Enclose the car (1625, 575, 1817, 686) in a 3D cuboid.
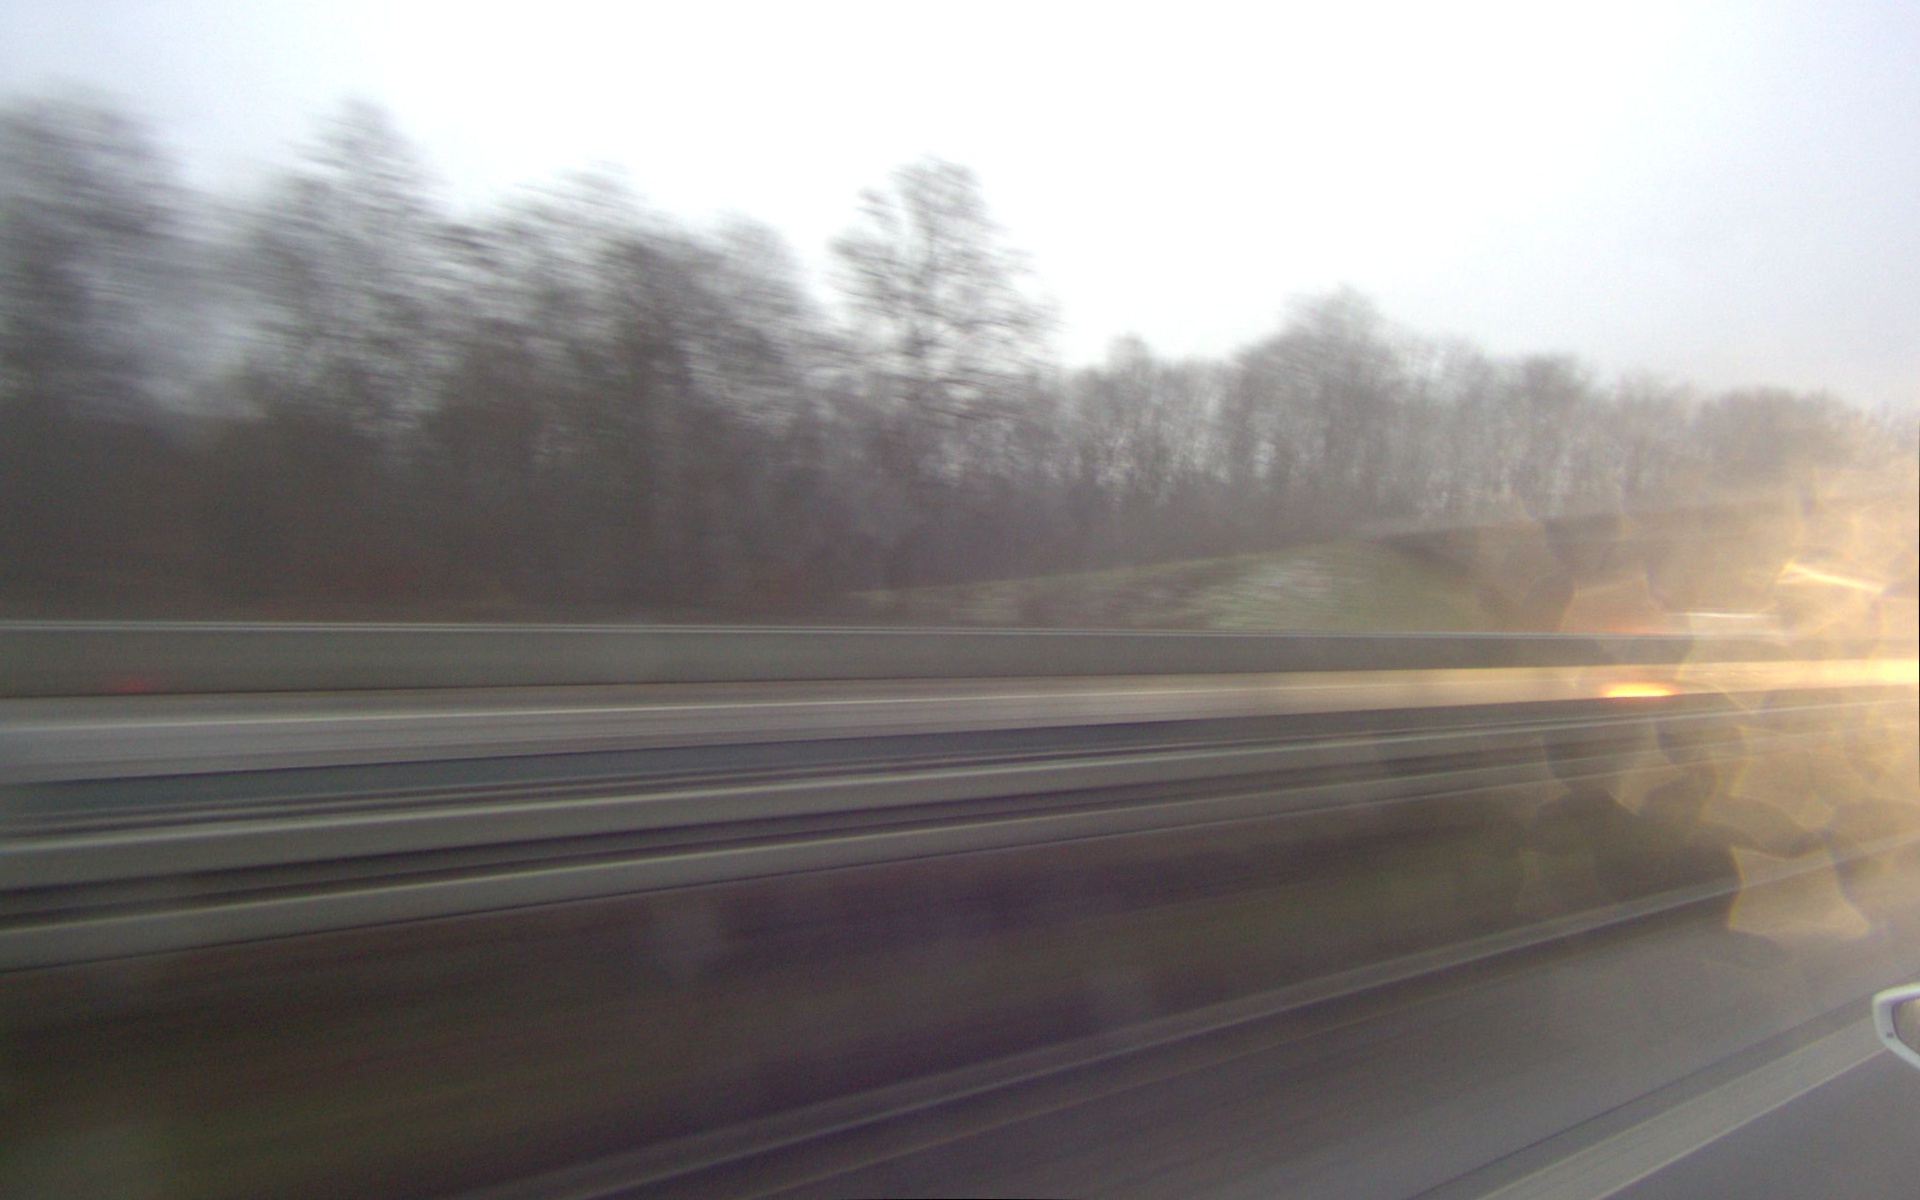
[{"bbox_3d":[18.251,0.719,24.061,4.622,2.444,1.984,2,0,-30],"label":"car"}]
